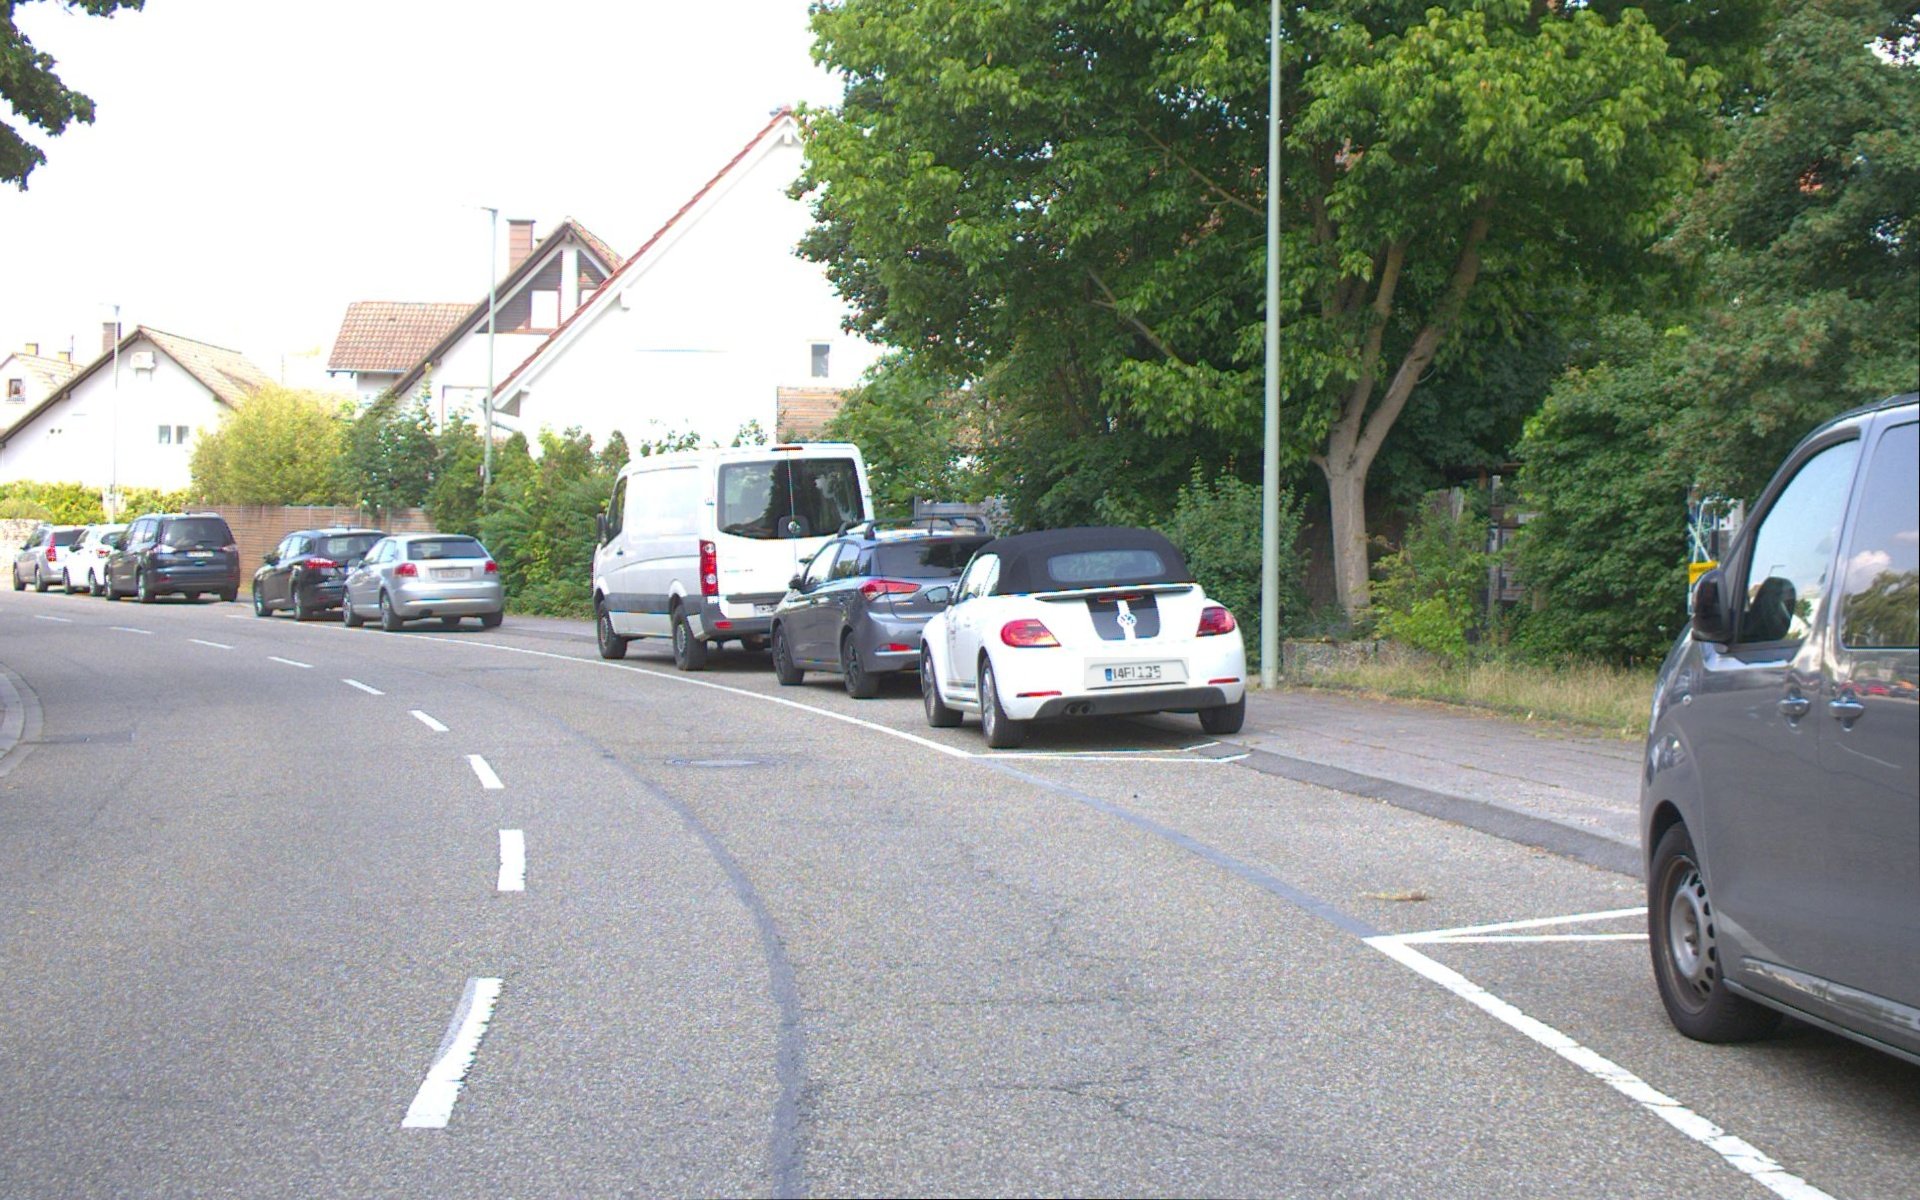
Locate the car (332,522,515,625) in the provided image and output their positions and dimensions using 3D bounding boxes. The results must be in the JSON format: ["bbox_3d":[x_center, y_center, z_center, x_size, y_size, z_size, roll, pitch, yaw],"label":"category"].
[{"bbox_3d":[-8.148,-0.427,51.902,1.737,1.452,4.366,1,1,-22],"label":"car"}]

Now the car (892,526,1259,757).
[{"bbox_3d":[0.737,0.236,25.137,1.739,1.507,4.460,1,1,-10],"label":"car"}]

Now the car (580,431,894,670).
[{"bbox_3d":[-2.590,-0.565,38.196,2.117,2.432,5.896,1,1,-17],"label":"car"}]

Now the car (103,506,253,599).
[{"bbox_3d":[-15.447,-0.956,67.752,1.794,1.742,4.584,1,1,-27],"label":"car"}]

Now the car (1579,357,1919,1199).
[{"bbox_3d":[3.032,0.388,8.578,1.842,1.938,4.877,-1,1,-3],"label":"car"}]

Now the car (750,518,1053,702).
[{"bbox_3d":[-0.622,0.048,31.954,1.717,1.580,4.125,1,1,-17],"label":"car"}]

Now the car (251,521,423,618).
[{"bbox_3d":[-10.374,-0.526,57.013,1.737,1.504,4.477,1,1,-25],"label":"car"}]

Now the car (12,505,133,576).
[{"bbox_3d":[-20.068,-1.361,77.637,1.794,1.518,3.974,1,1,-27],"label":"car"}]

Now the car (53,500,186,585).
[{"bbox_3d":[-17.962,-1.236,73.370,1.794,1.742,3.974,1,1,-28],"label":"car"}]
